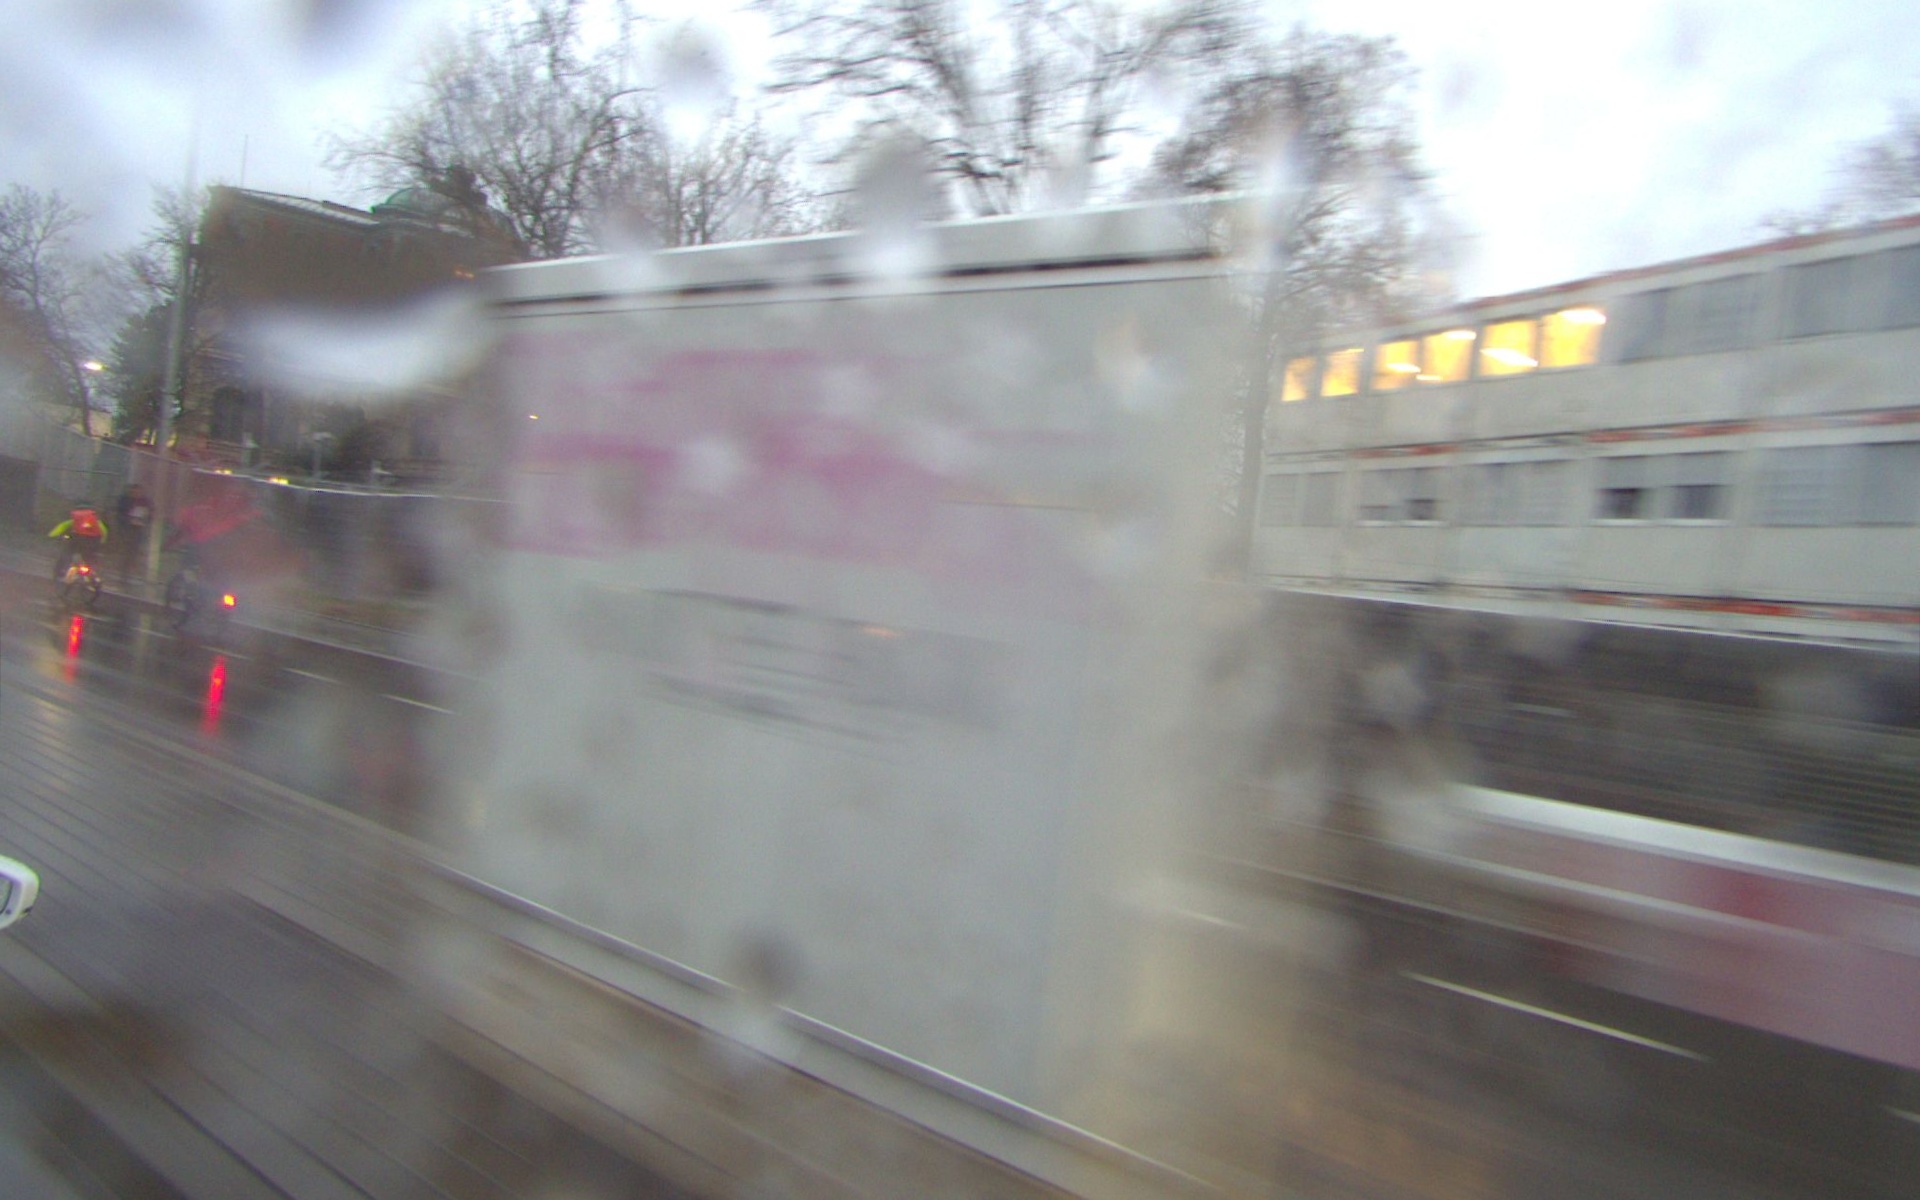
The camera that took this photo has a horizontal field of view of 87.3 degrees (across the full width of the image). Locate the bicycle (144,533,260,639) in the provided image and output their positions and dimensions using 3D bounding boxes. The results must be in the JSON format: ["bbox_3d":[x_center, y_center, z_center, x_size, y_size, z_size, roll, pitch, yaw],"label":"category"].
[{"bbox_3d":[-10.339,-0.205,13.698,1.994,1.200,0.412,7,1,29],"label":"bicycle"}]

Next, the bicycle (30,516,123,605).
[{"bbox_3d":[-13.995,-0.636,15.917,1.915,1.200,0.412,7,1,29],"label":"bicycle"}]

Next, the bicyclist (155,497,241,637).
[{"bbox_3d":[-10.353,-0.450,13.668,0.823,1.789,0.500,8,1,29],"label":"bicyclist"}]

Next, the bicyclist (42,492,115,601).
[{"bbox_3d":[-13.927,-0.841,15.898,0.823,1.611,0.500,8,1,29],"label":"bicyclist"}]

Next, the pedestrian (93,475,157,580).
[{"bbox_3d":[-16.108,-1.398,19.417,0.885,1.903,0.532,8,1,29],"label":"pedestrian"}]
